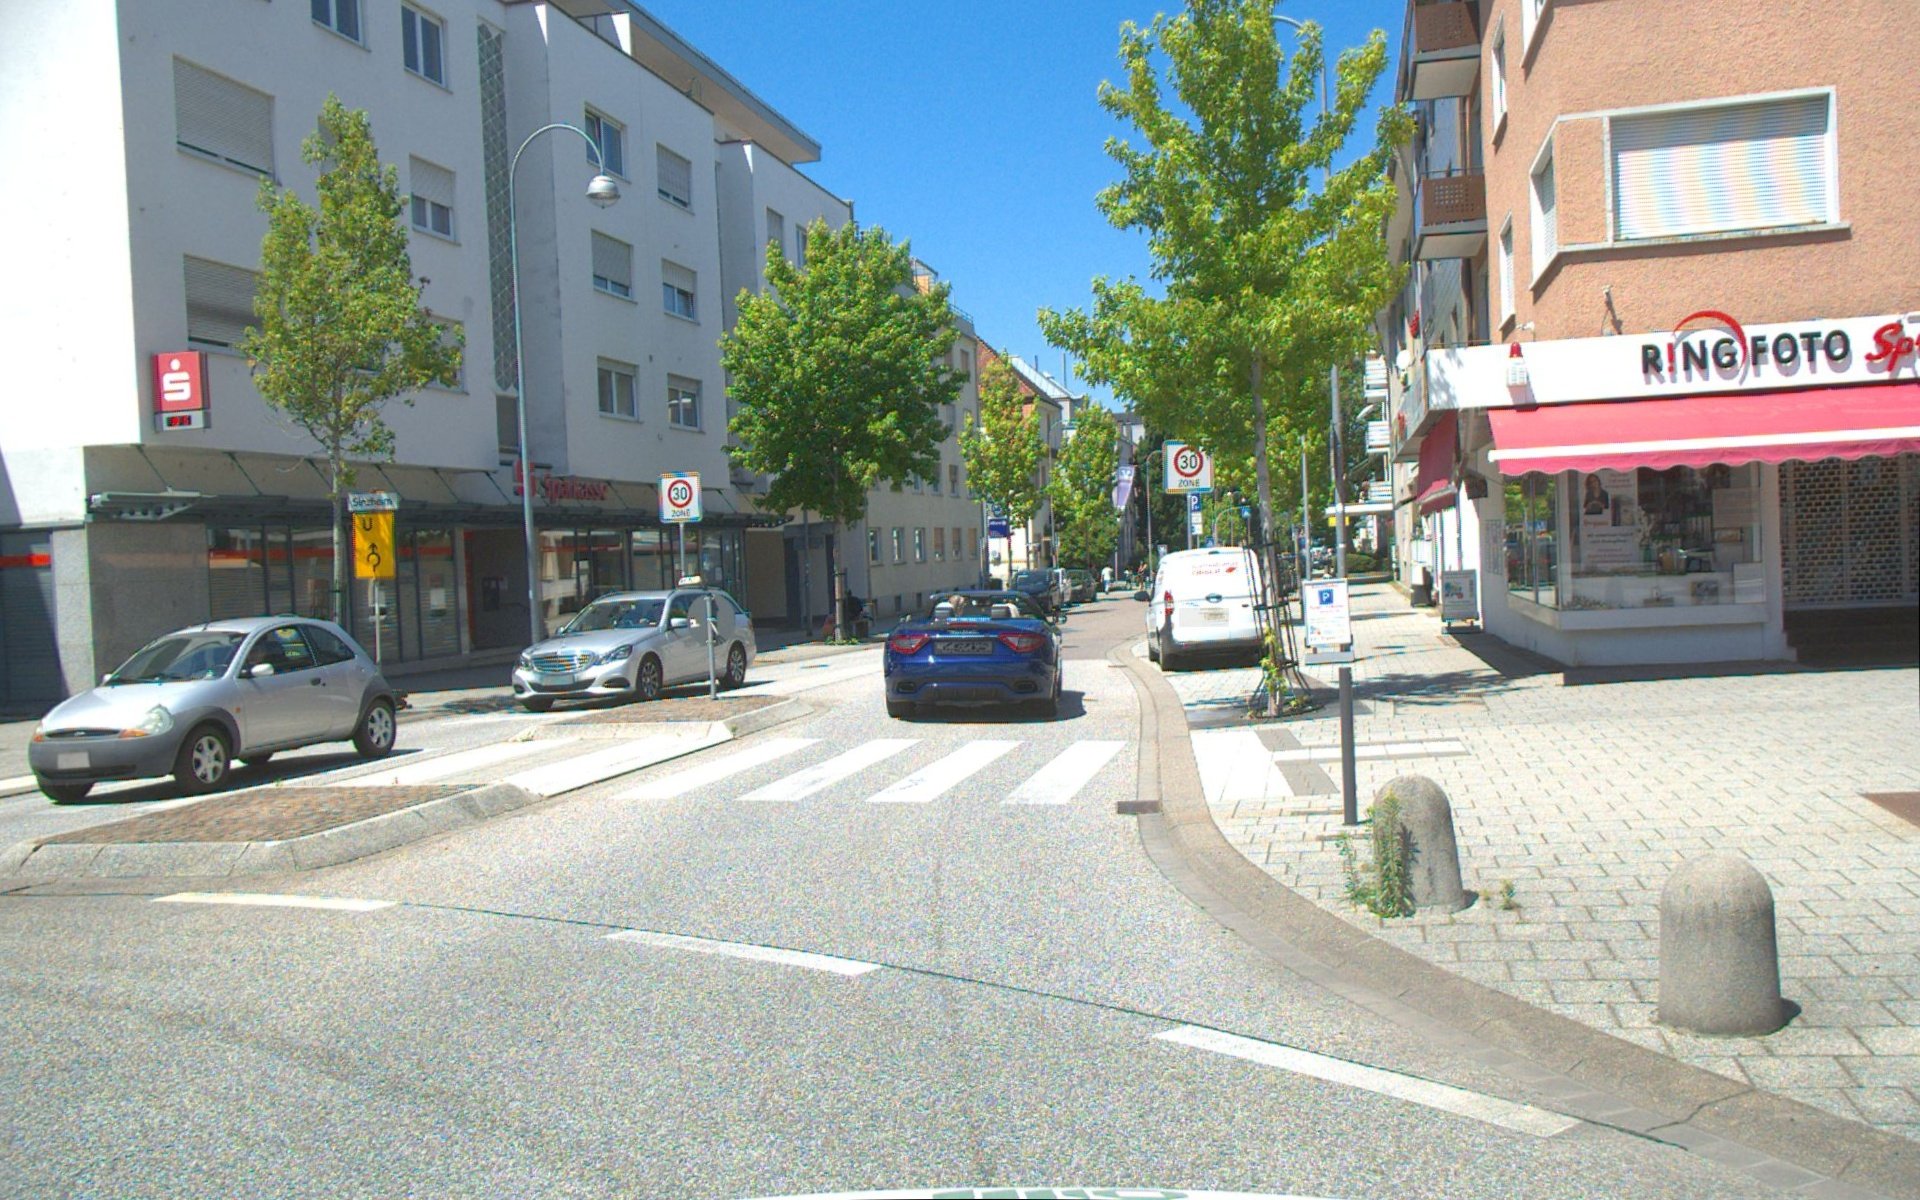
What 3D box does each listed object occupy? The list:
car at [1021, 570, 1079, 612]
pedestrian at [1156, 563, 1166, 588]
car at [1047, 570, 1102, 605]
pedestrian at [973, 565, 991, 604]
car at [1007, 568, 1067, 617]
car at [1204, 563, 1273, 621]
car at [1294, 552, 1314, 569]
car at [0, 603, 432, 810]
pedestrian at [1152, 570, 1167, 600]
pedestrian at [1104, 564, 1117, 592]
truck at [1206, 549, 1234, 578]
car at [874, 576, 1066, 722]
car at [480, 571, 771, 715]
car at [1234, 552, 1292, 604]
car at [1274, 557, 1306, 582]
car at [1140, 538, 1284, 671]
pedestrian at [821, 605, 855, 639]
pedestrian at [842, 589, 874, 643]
[{"bbox_3d":[3.865,-0.407,70.383,1.785,1.647,4.397,-1,2,12],"label":"car"},{"bbox_3d":[13.697,-1.670,112.621,0.574,1.601,0.782,-2,1,12],"label":"pedestrian"},{"bbox_3d":[5.308,-0.602,76.421,1.717,1.499,4.325,-1,1,15],"label":"car"},{"bbox_3d":[1.027,-0.718,76.434,0.643,1.709,0.631,-5,3,-4],"label":"pedestrian"},{"bbox_3d":[3.040,-0.329,64.850,1.692,1.770,4.397,0,2,12],"label":"car"},{"bbox_3d":[8.807,-0.276,52.020,1.686,1.610,4.229,-4,0,15],"label":"car"},{"bbox_3d":[35.588,-4.098,170.916,1.909,1.501,4.142,-4,1,13],"label":"car"},{"bbox_3d":[-6.703,0.883,15.267,1.663,1.483,3.793,-4,1,14],"label":"car"},{"bbox_3d":[13.628,-1.045,112.879,0.831,1.948,0.762,-4,3,11],"label":"pedestrian"},{"bbox_3d":[8.350,-1.205,91.686,0.567,1.499,0.565,-2,1,12],"label":"pedestrian"},{"bbox_3d":[21.202,-3.000,134.693,1.766,2.154,4.720,-4,1,13],"label":"truck"},{"bbox_3d":[0.177,0.472,19.170,1.935,1.422,4.629,-1,1,2],"label":"car"},{"bbox_3d":[-4.495,0.510,23.173,1.951,1.620,5.004,-2,2,14],"label":"car"},{"bbox_3d":[12.826,-0.955,69.790,1.951,1.829,4.574,-4,2,15],"label":"car"},{"bbox_3d":[23.020,-2.150,115.342,1.934,1.475,4.354,-4,2,13],"label":"car"},{"bbox_3d":[3.790,0.034,25.460,1.711,1.754,3.912,-4,1,3],"label":"car"},{"bbox_3d":[-3.323,0.612,45.050,0.651,0.873,0.732,-3,-3,22],"label":"pedestrian"},{"bbox_3d":[-2.712,0.425,43.914,0.556,1.396,0.667,-3,0,22],"label":"pedestrian"}]
